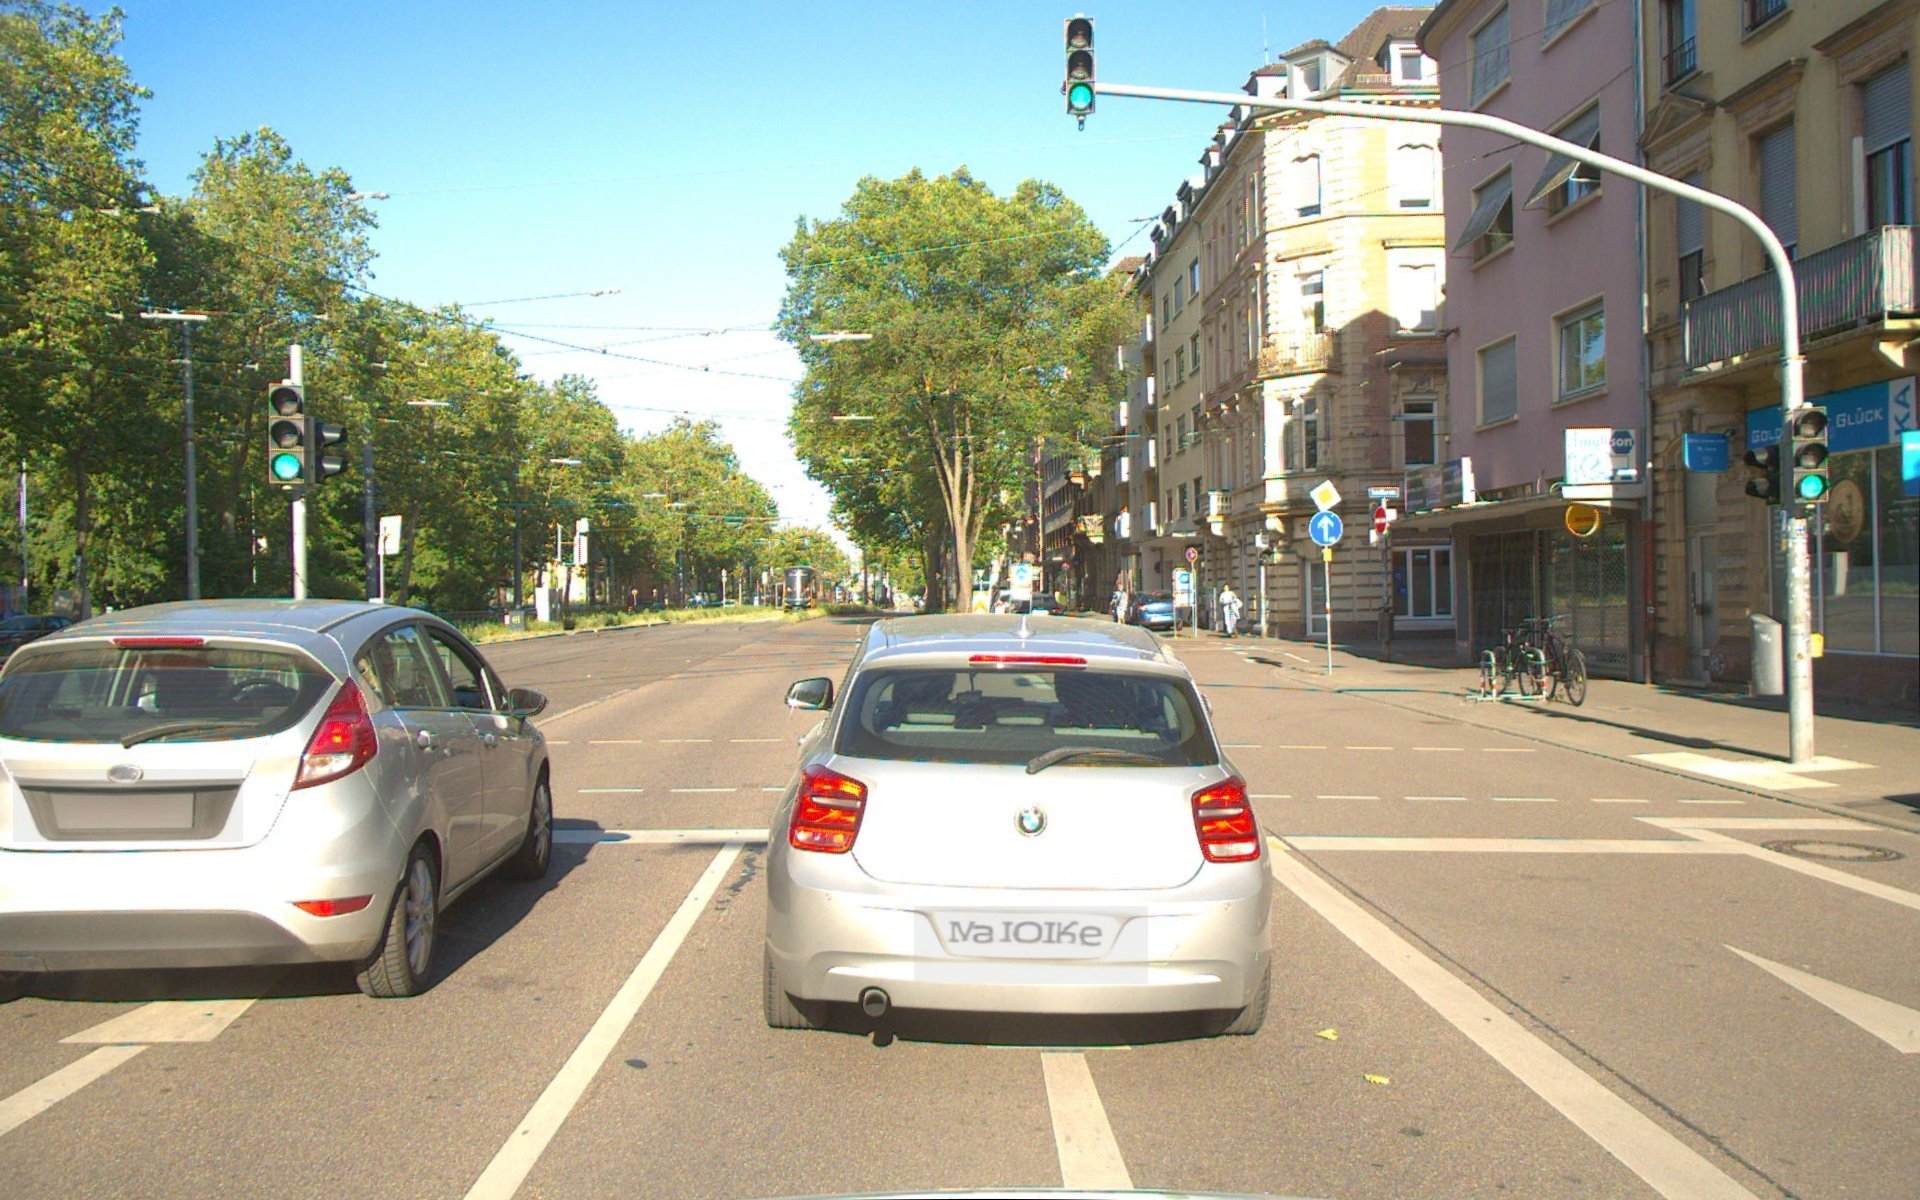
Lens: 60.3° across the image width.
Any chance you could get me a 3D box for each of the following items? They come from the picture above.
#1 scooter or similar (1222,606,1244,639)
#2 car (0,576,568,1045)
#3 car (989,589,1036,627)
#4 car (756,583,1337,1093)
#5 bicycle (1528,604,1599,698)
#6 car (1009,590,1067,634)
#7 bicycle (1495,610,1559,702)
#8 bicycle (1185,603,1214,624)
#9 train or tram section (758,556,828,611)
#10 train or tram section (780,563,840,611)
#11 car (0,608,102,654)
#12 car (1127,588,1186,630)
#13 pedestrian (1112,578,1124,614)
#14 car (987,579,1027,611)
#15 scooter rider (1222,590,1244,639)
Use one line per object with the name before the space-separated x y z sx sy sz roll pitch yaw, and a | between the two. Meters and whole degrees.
scooter or similar | 8.627 0.716 52.365 0.331 1.005 1.282 -1 0 -7
car | -2.827 0.663 7.288 1.578 1.493 3.886 -1 0 -5
car | 2.138 0.305 68.105 1.690 1.533 3.553 0 0 -2
car | 0.227 0.696 6.908 1.705 1.493 3.999 1 0 -1
bicycle | 8.094 0.661 22.249 0.439 1.179 1.759 -1 0 5
car | 2.655 0.395 56.943 1.700 1.458 3.677 0 0 -2
bicycle | 7.605 0.728 22.245 0.405 1.160 1.810 0 0 5
bicycle | 9.145 0.499 63.210 0.739 0.784 1.944 0 0 -2
train or tram section | -12.832 -1.266 128.738 3.888 3.933 17.485 0 0 -1
train or tram section | -13.059 -1.153 146.136 3.924 3.933 17.485 0 0 -1
car | -29.409 0.970 52.571 1.897 1.372 4.847 0 -1 -2
car | 7.435 0.312 62.835 1.700 1.546 3.635 0 0 -2
pedestrian | 8.174 -0.227 85.584 0.495 1.833 0.805 -1 0 -1
car | 2.288 -0.240 80.839 1.690 1.533 3.553 0 0 -2
scooter rider | 8.630 0.442 52.322 0.457 1.531 0.809 -1 0 -8
